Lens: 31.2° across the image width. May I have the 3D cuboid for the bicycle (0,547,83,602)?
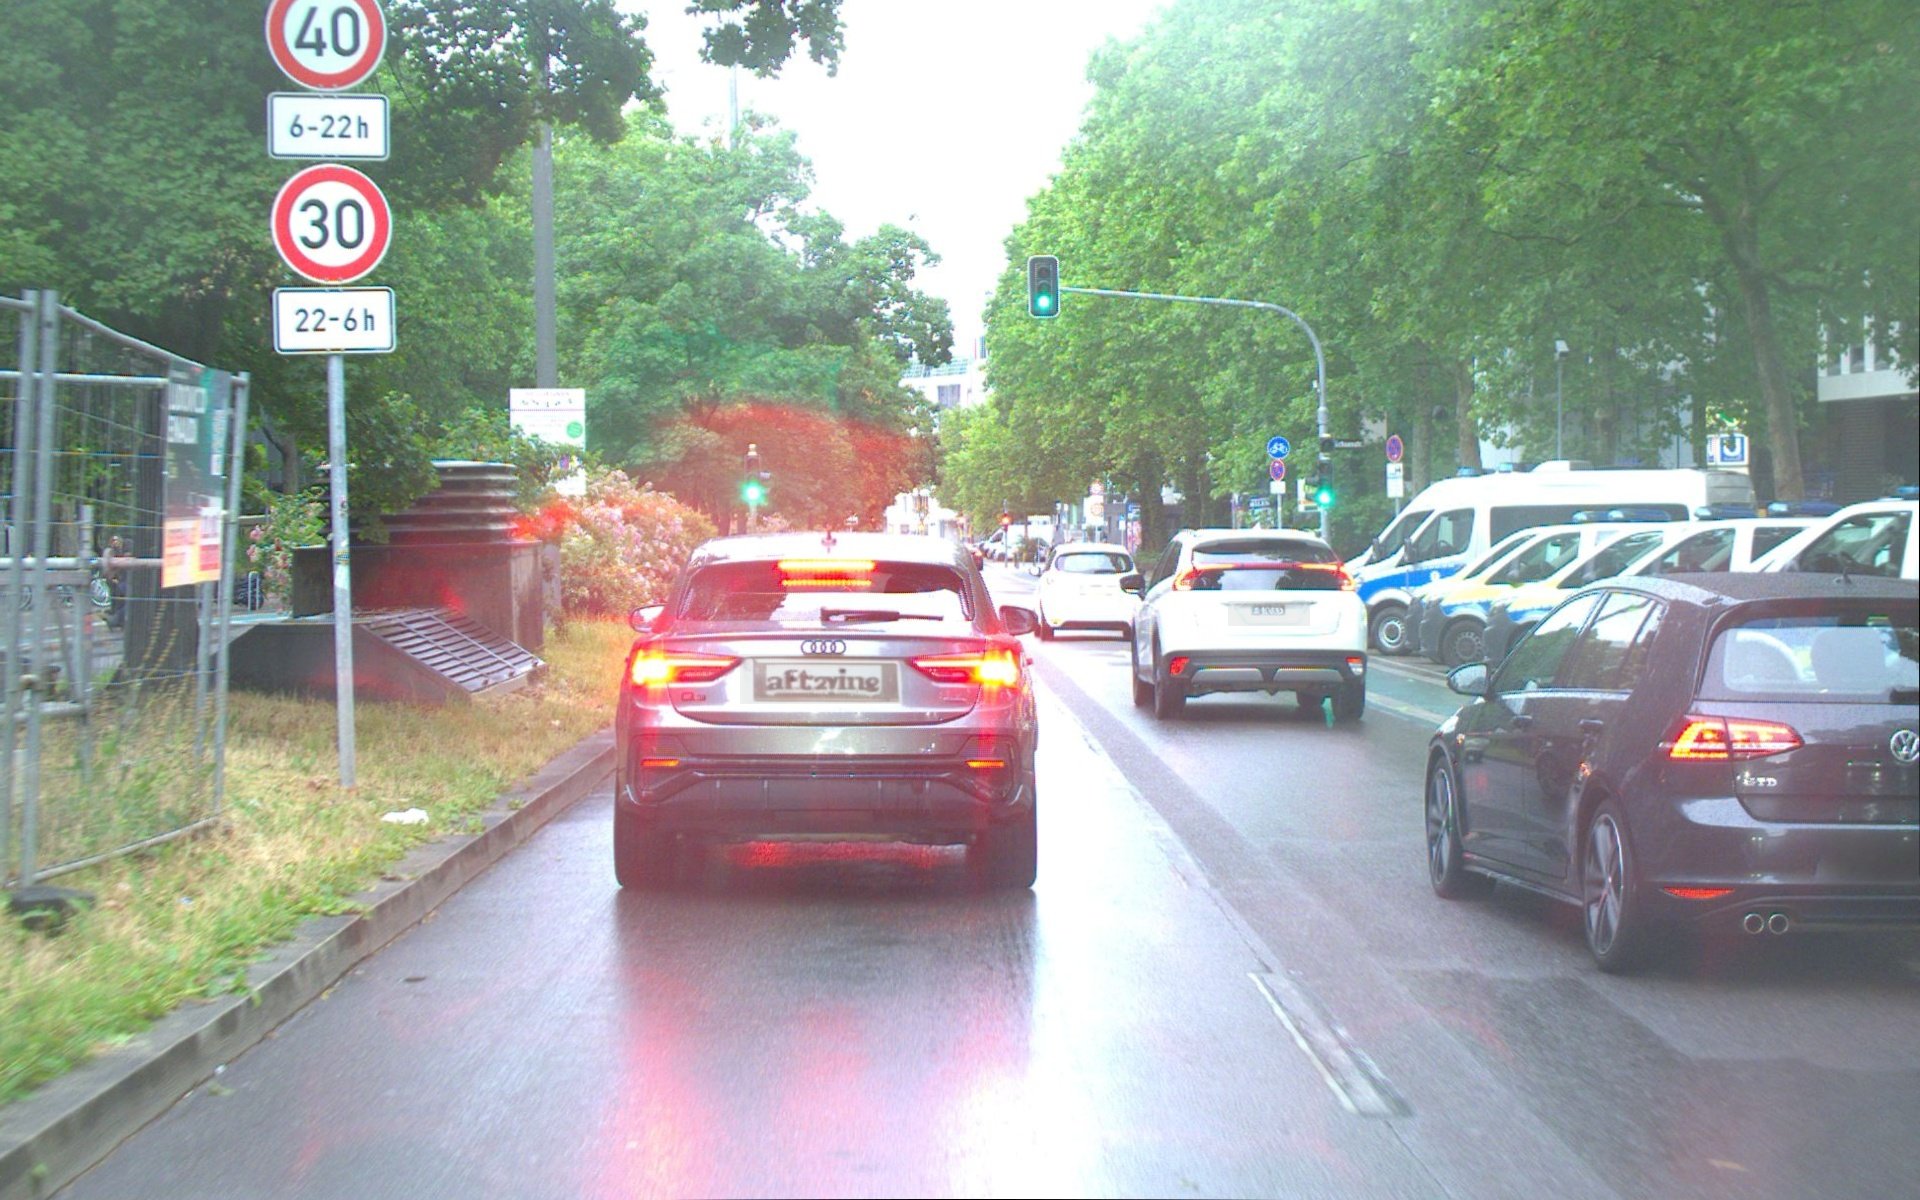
[{"bbox_3d":[-19.386,-0.535,72.105,1.844,1.133,0.566,0,1,-8],"label":"bicycle"}]

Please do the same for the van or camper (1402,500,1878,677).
[{"bbox_3d":[8.109,-0.173,41.208,5.202,1.985,1.996,1,1,34],"label":"van or camper"}]

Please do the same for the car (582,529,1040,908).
[{"bbox_3d":[-0.575,0.437,16.260,1.863,1.527,4.527,0,1,1],"label":"car"}]

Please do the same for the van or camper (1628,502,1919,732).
[{"bbox_3d":[8.699,0.129,30.626,5.017,1.988,1.996,0,1,32],"label":"van or camper"}]

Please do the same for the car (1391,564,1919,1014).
[{"bbox_3d":[2.954,0.602,13.390,1.765,1.408,4.001,-1,1,-4],"label":"car"}]

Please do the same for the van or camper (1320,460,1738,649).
[{"bbox_3d":[8.406,-0.688,51.146,5.810,2.668,2.143,1,1,37],"label":"van or camper"}]

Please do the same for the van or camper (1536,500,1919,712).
[{"bbox_3d":[8.556,0.017,34.459,5.102,2.018,2.101,1,1,37],"label":"van or camper"}]

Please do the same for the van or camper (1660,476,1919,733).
[{"bbox_3d":[8.241,0.031,27.464,4.789,2.004,1.996,1,1,36],"label":"van or camper"}]

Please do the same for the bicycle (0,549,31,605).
[{"bbox_3d":[-19.230,-0.448,67.513,1.844,1.094,0.615,-1,1,-8],"label":"bicycle"}]

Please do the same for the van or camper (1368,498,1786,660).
[{"bbox_3d":[8.036,-0.266,44.976,5.010,2.007,1.996,0,0,35],"label":"van or camper"}]

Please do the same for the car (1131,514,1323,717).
[{"bbox_3d":[2.309,0.093,30.299,1.433,1.679,2.979,-1,1,0],"label":"car"}]

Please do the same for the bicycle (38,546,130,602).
[{"bbox_3d":[-18.745,-0.557,73.588,1.844,1.145,0.566,-1,1,-7],"label":"bicycle"}]

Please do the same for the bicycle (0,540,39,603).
[{"bbox_3d":[-19.160,-0.566,68.267,1.617,1.237,0.510,0,1,-8],"label":"bicycle"}]

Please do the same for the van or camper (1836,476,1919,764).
[{"bbox_3d":[8.666,0.149,23.474,4.849,1.991,1.864,1,1,36],"label":"van or camper"}]

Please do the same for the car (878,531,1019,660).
[{"bbox_3d":[-0.171,-0.095,44.177,1.721,1.572,3.962,0,1,-1],"label":"car"}]

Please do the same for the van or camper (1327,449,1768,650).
[{"bbox_3d":[8.189,-0.708,48.229,5.805,2.671,1.996,0,1,35],"label":"van or camper"}]

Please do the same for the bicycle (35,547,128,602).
[{"bbox_3d":[-18.636,-0.546,72.944,1.844,1.133,0.566,-1,1,-7],"label":"bicycle"}]

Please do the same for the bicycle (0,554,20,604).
[{"bbox_3d":[-19.211,-0.404,66.621,1.844,0.975,0.566,0,1,-3],"label":"bicycle"}]

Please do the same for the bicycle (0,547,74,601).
[{"bbox_3d":[-19.372,-0.539,71.361,1.821,1.094,0.566,0,1,-8],"label":"bicycle"}]

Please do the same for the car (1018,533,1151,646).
[{"bbox_3d":[1.998,-0.197,56.156,1.993,1.744,4.000,-1,1,0],"label":"car"}]
